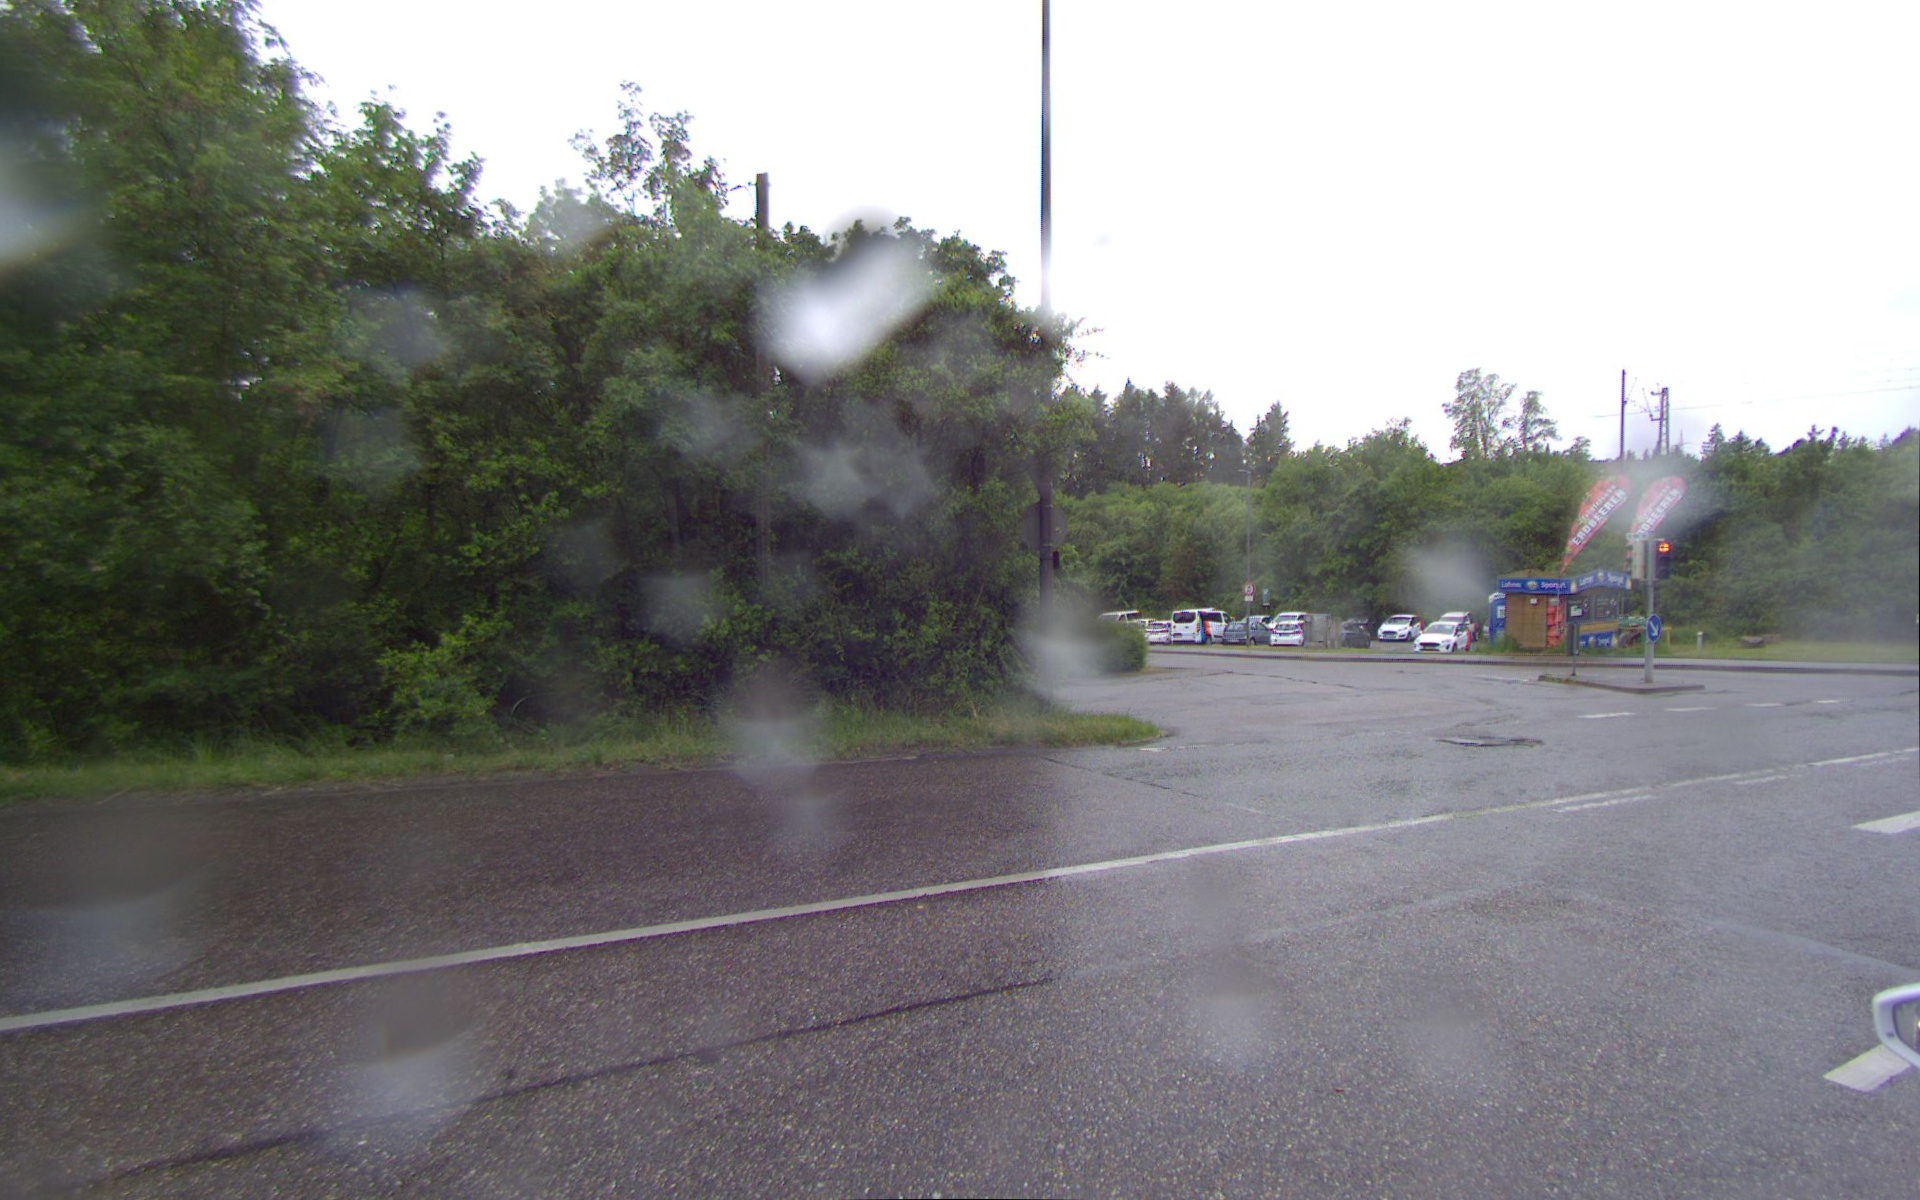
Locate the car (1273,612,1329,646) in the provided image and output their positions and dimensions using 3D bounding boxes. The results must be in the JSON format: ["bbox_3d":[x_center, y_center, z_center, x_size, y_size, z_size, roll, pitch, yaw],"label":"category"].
[{"bbox_3d":[21.321,1.802,62.770,1.916,2.040,3.846,1,0,43],"label":"car"}]

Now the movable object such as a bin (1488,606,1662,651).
[{"bbox_3d":[25.974,1.206,42.665,5.663,1.649,2.753,2,-1,10],"label":"movable object such as a bin"}]

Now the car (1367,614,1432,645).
[{"bbox_3d":[25.061,1.675,57.215,3.972,1.606,1.975,3,-1,-43],"label":"car"}]

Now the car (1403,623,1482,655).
[{"bbox_3d":[22.281,1.827,46.334,4.868,1.358,1.636,3,-1,-43],"label":"car"}]

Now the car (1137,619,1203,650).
[{"bbox_3d":[11.793,1.965,56.194,1.834,1.606,3.978,1,-1,42],"label":"car"}]

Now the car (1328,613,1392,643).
[{"bbox_3d":[23.599,1.651,59.224,3.972,1.606,1.975,3,-1,-43],"label":"car"}]

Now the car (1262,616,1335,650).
[{"bbox_3d":[17.320,1.716,51.304,3.880,1.606,1.918,3,-1,-43],"label":"car"}]

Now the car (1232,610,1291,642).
[{"bbox_3d":[19.451,1.672,64.651,3.973,2.040,1.974,2,-2,-44],"label":"car"}]

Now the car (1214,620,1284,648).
[{"bbox_3d":[15.277,1.804,53.007,3.972,1.327,1.734,3,-1,-43],"label":"car"}]

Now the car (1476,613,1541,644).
[{"bbox_3d":[29.547,1.548,54.048,3.972,1.606,1.975,2,-2,-43],"label":"car"}]

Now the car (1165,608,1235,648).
[{"bbox_3d":[13.017,1.527,54.257,1.971,1.974,3.978,1,-1,42],"label":"car"}]

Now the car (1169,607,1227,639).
[{"bbox_3d":[16.148,1.517,67.995,3.973,2.040,1.974,1,1,-44],"label":"car"}]

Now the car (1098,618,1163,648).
[{"bbox_3d":[9.879,1.942,58.091,1.813,1.606,3.978,1,-1,42],"label":"car"}]

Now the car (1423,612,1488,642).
[{"bbox_3d":[27.254,1.480,55.232,3.972,1.606,1.975,2,-2,-43],"label":"car"}]
